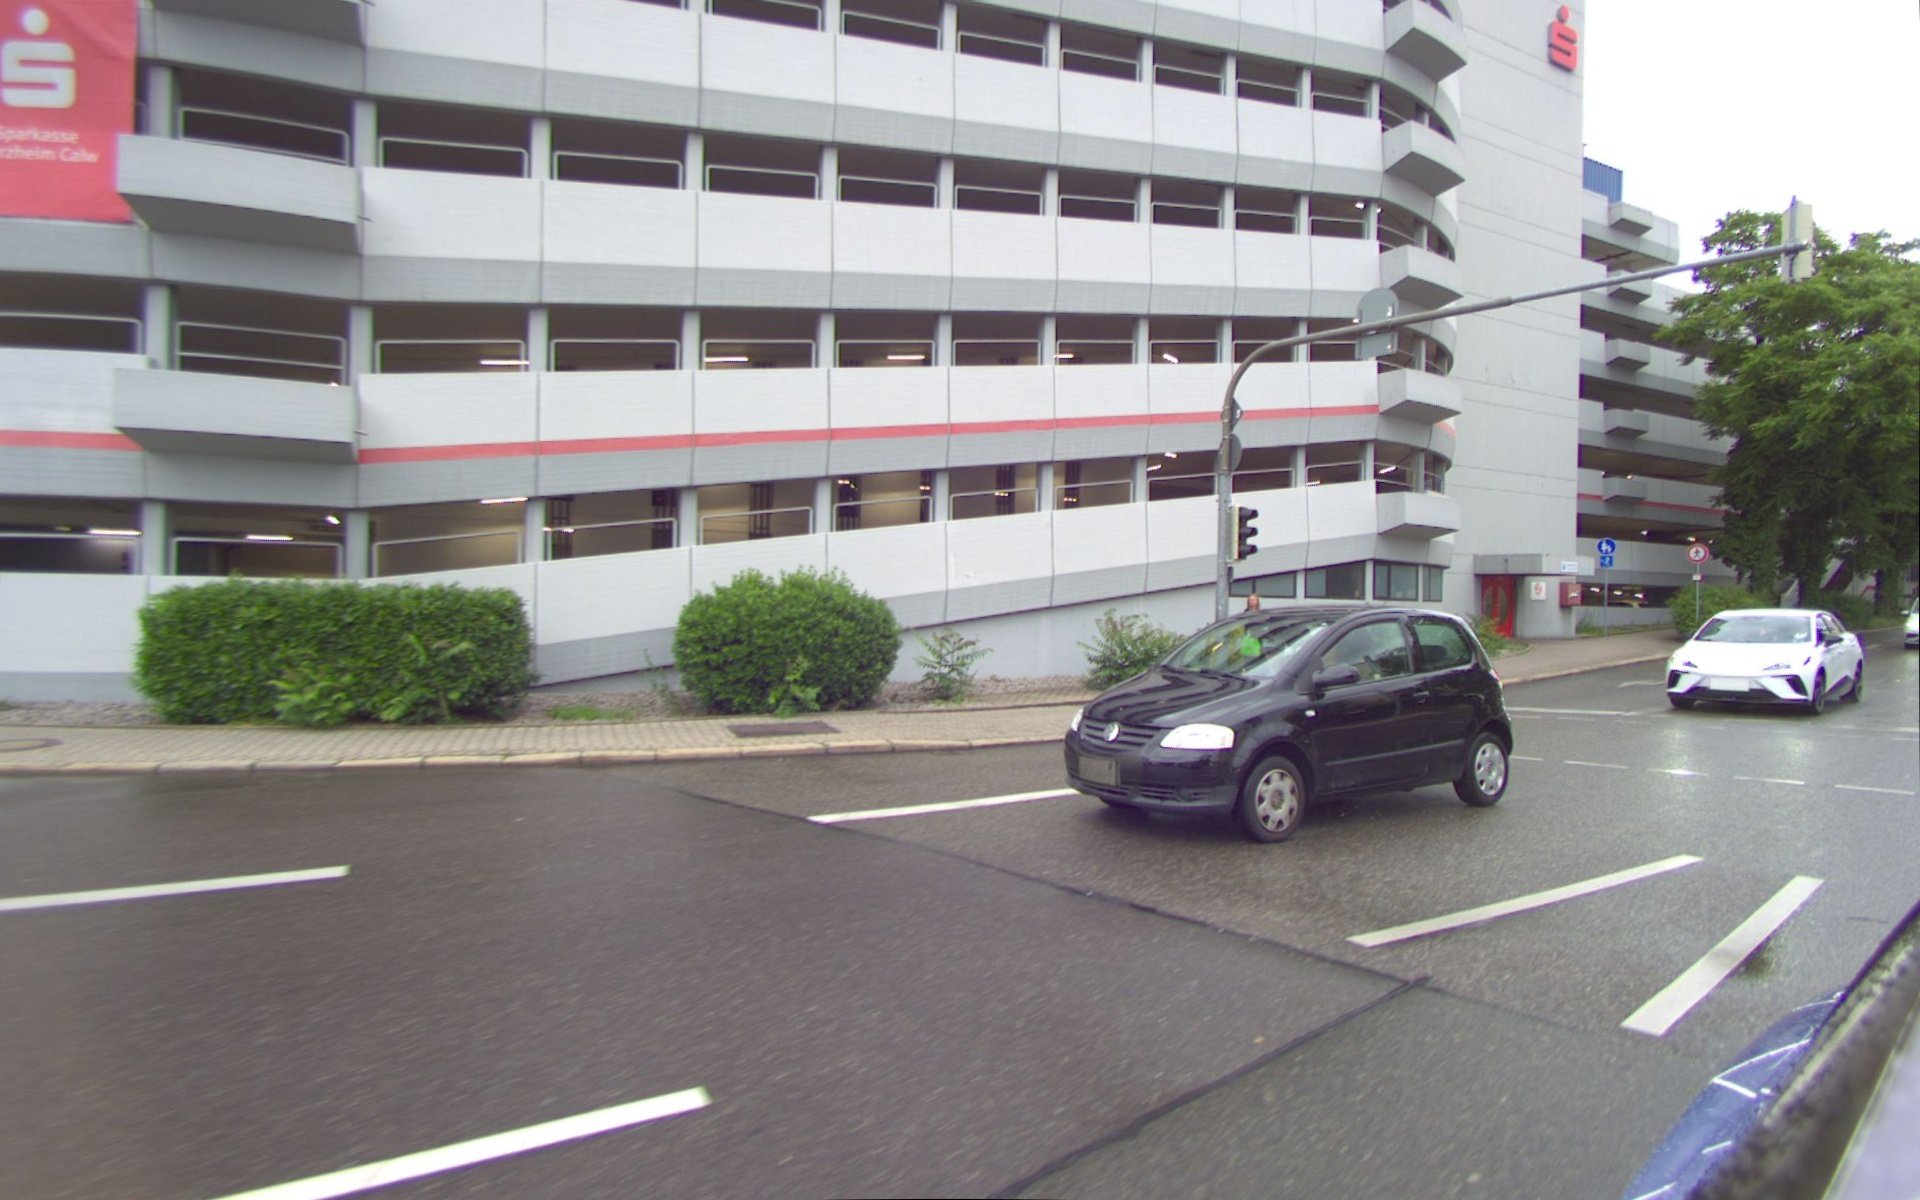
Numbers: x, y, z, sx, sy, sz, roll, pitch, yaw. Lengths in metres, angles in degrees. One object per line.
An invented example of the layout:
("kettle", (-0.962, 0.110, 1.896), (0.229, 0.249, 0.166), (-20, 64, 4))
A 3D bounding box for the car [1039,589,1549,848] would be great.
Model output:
("car", (2.574, 0.710, 7.613), (3.672, 1.512, 1.679), (0, -2, -32))

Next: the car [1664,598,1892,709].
("car", (12.727, 0.750, 15.676), (4.131, 1.497, 1.805), (0, -2, -37))

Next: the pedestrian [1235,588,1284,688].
("pedestrian", (5.191, 0.642, 17.579), (0.508, 1.679, 0.586), (0, 3, -25))

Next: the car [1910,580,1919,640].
("car", (29.808, 0.346, 30.249), (1.993, 1.748, 4.331), (2, 0, 43))
